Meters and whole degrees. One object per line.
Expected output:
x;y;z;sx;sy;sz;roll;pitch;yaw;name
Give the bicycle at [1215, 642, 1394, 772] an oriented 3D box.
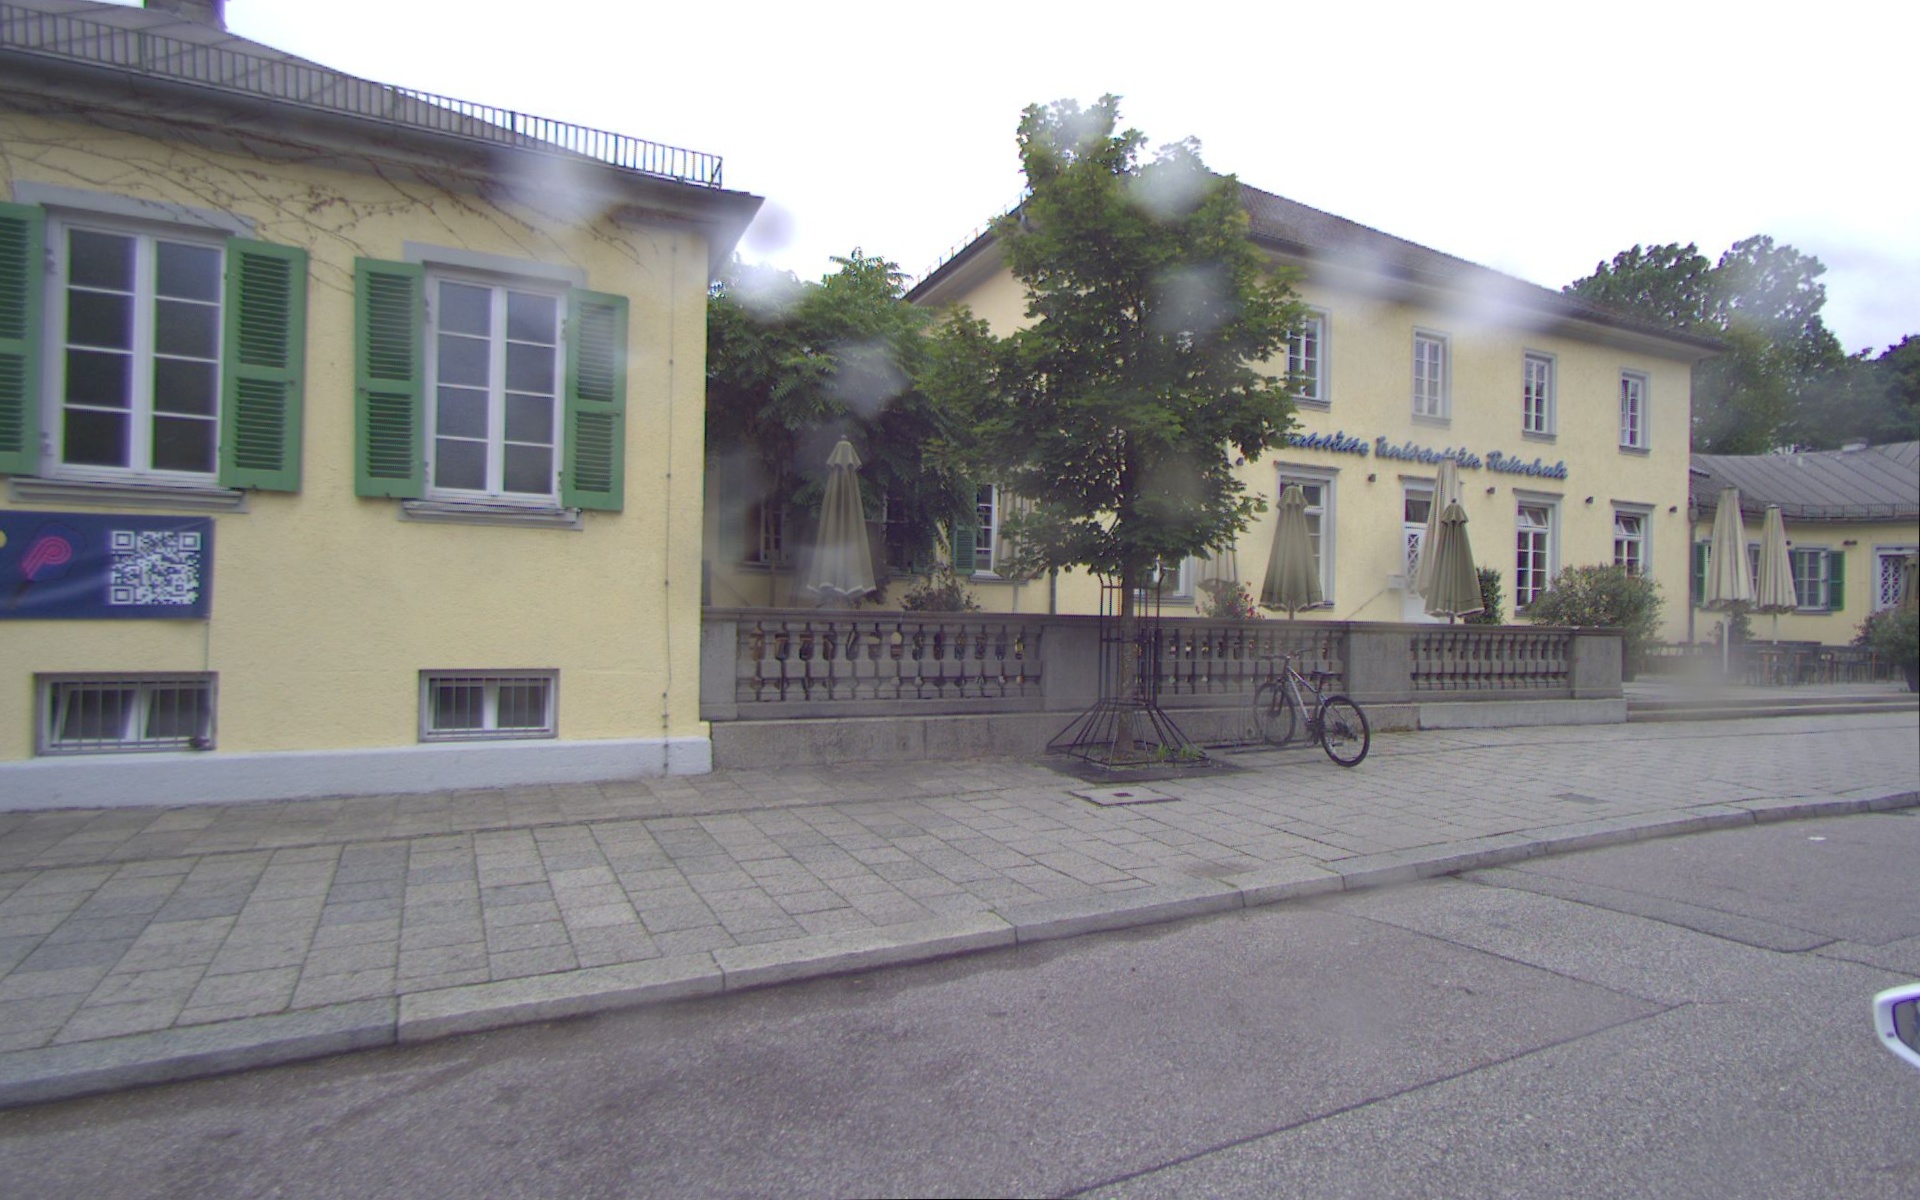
3.555;1.060;10.561;0.606;1.114;1.925;1;1;-24;bicycle
